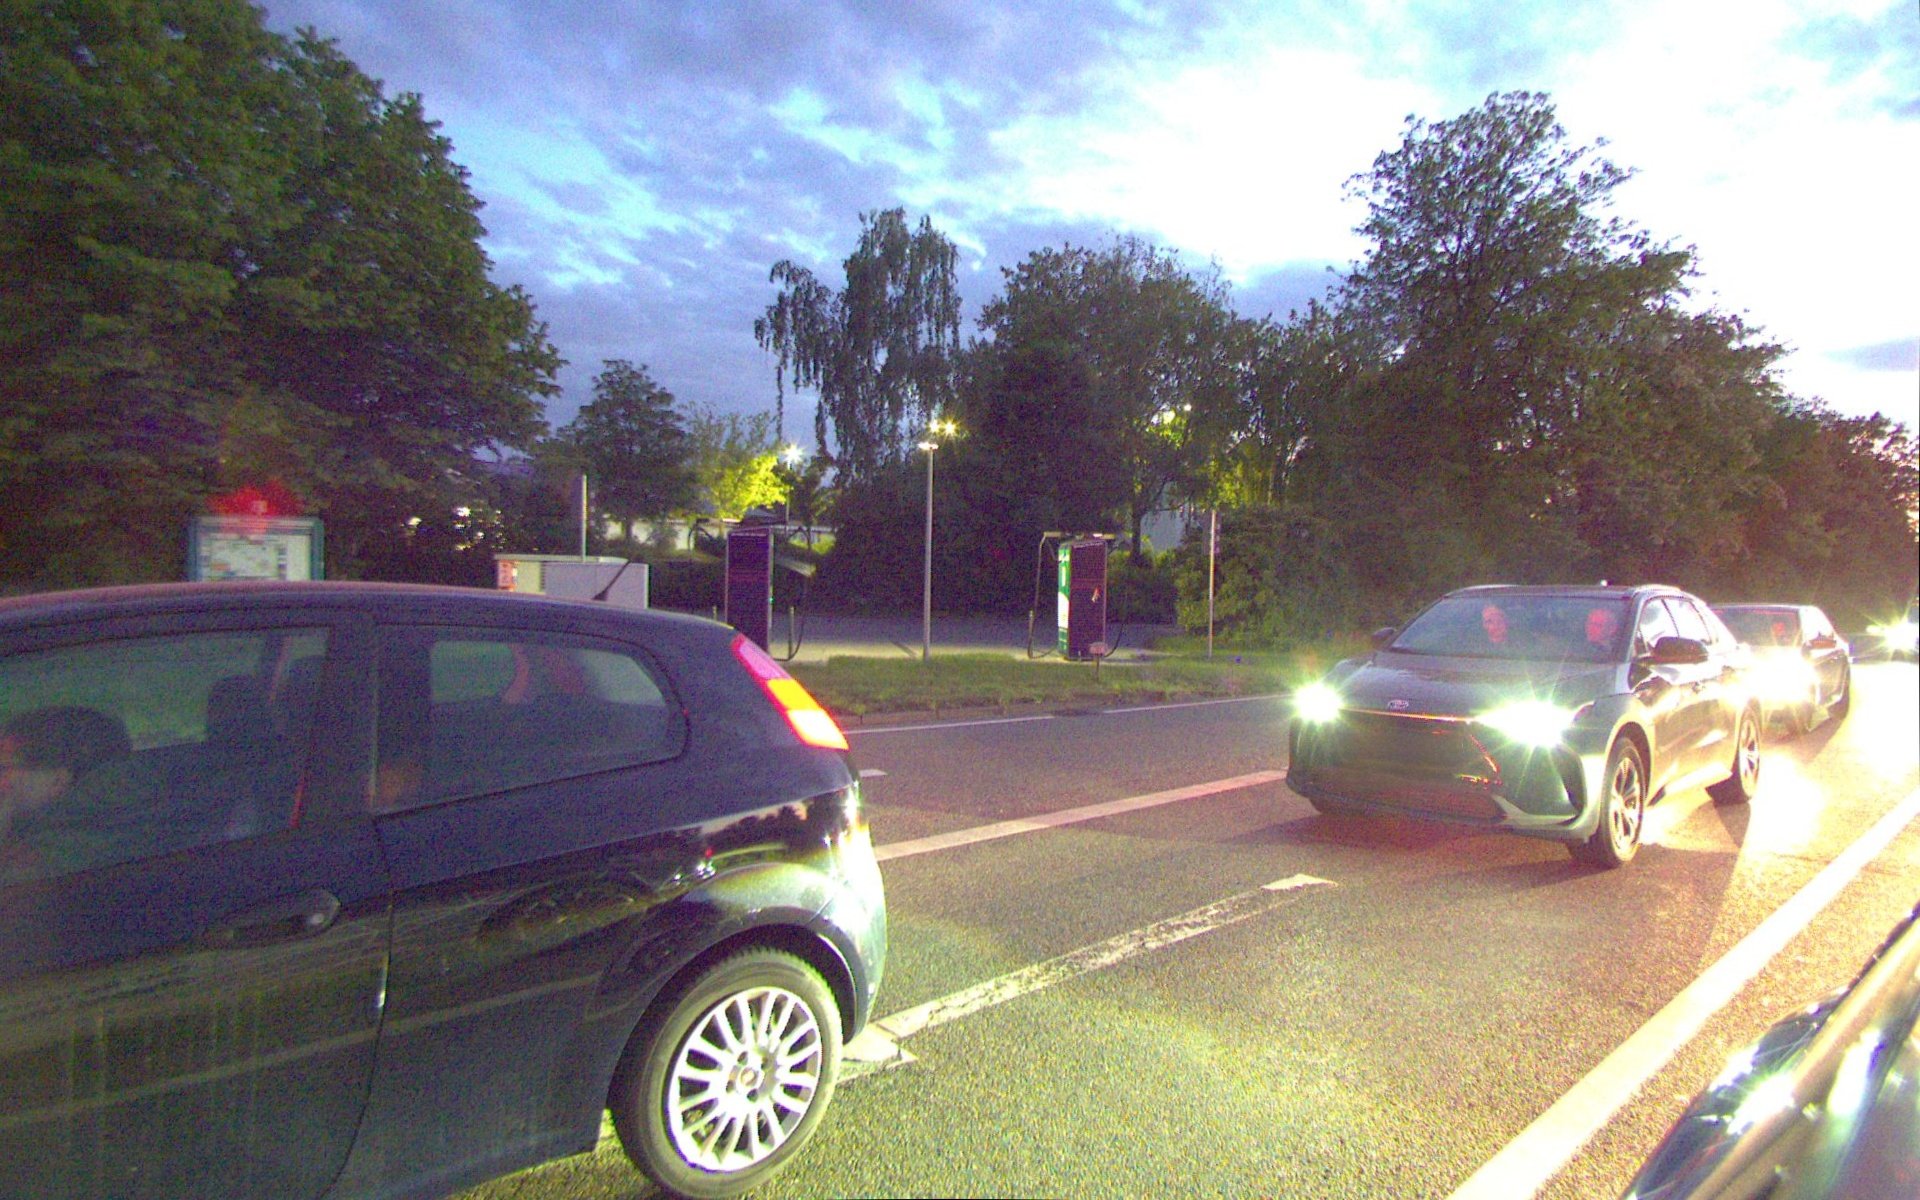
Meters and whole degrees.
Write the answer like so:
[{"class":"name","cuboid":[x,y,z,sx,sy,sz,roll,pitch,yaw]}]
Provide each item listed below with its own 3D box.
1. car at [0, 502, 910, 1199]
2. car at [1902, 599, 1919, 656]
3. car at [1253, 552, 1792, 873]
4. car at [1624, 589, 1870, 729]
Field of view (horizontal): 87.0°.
[{"class":"car","cuboid":[-2.063,0.614,2.187,3.648,1.556,1.662,0,0,-40]},{"class":"car","cuboid":[25.488,0.679,25.759,3.930,1.385,1.817,-1,1,-41]},{"class":"car","cuboid":[4.088,0.581,7.068,4.223,1.577,1.901,1,-1,-40]},{"class":"car","cuboid":[9.692,0.625,12.373,3.688,1.431,1.621,1,1,-40]}]
